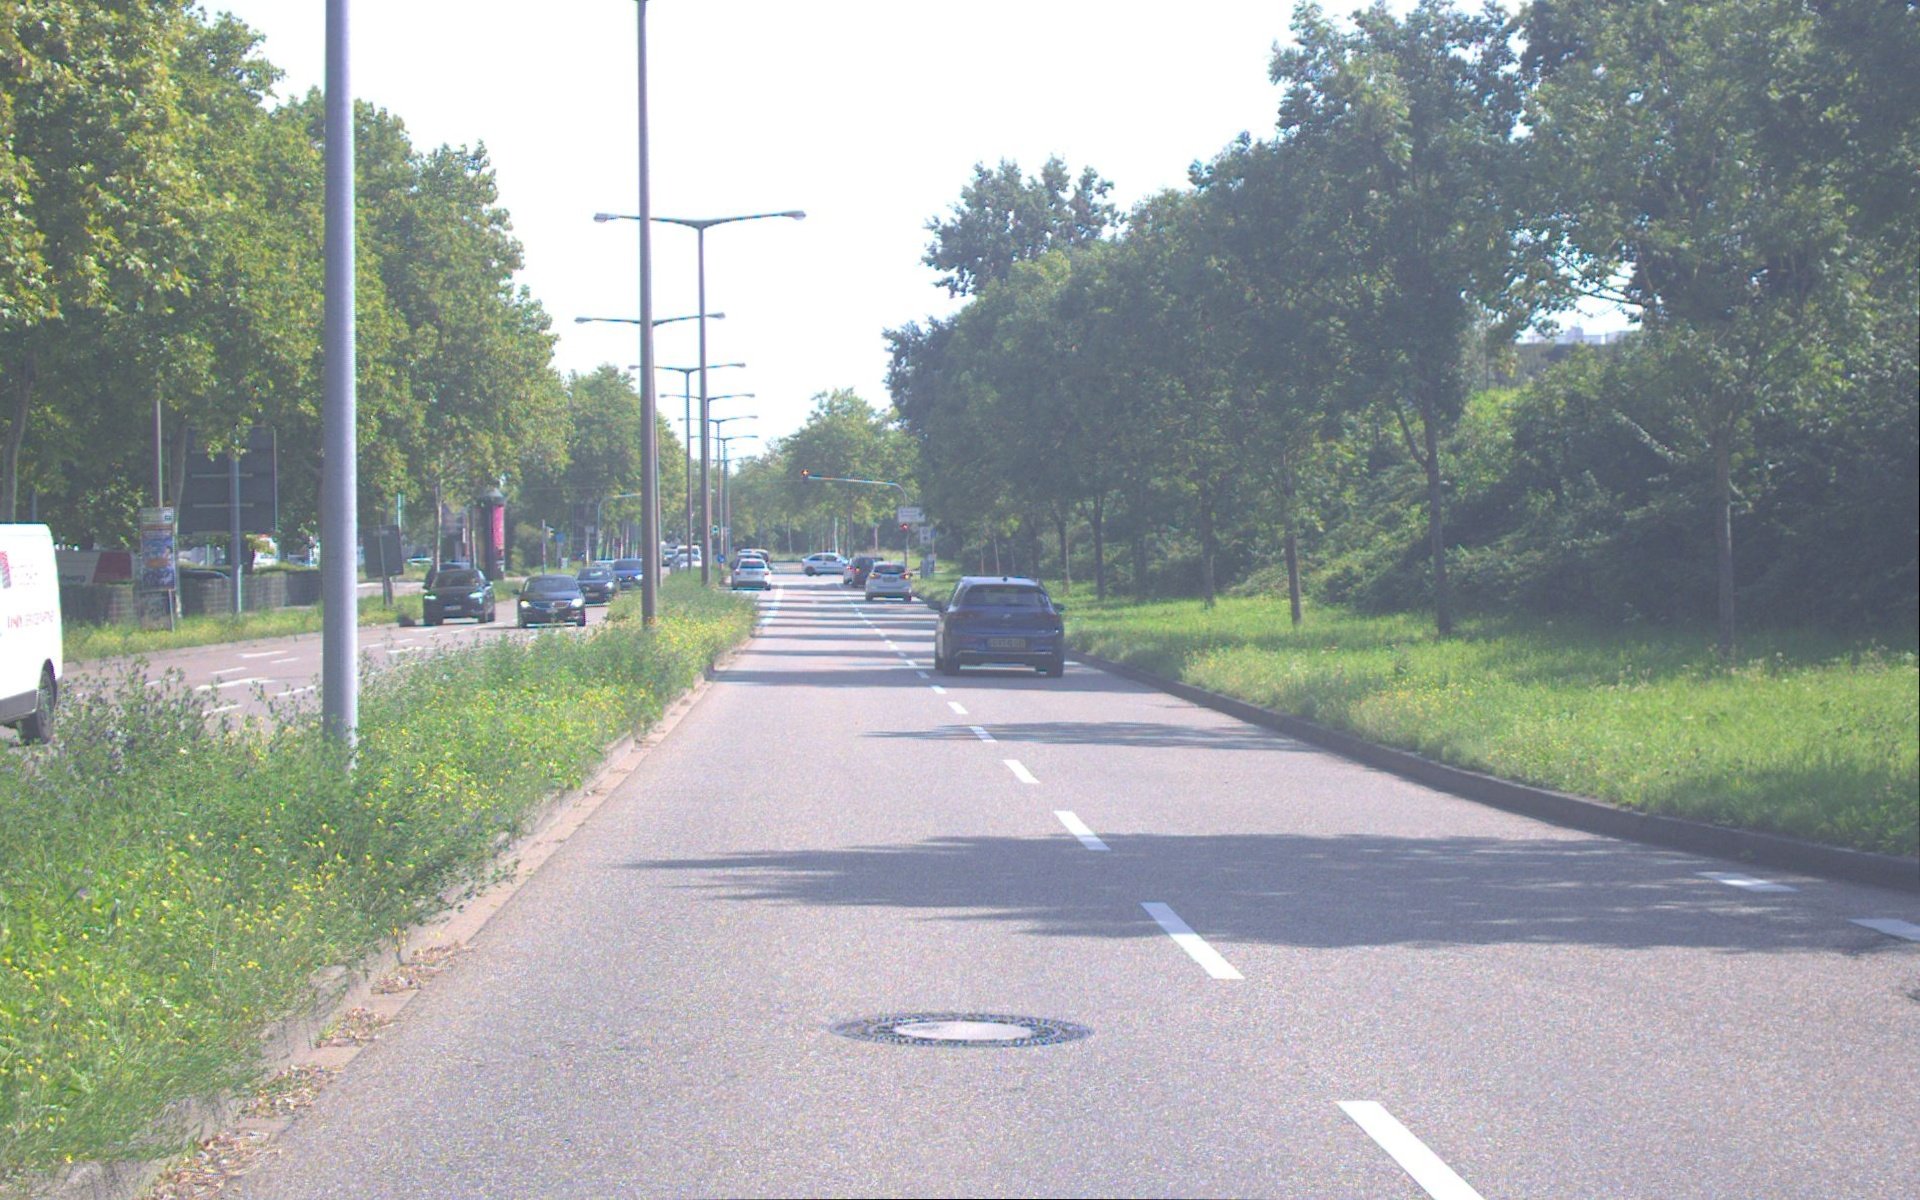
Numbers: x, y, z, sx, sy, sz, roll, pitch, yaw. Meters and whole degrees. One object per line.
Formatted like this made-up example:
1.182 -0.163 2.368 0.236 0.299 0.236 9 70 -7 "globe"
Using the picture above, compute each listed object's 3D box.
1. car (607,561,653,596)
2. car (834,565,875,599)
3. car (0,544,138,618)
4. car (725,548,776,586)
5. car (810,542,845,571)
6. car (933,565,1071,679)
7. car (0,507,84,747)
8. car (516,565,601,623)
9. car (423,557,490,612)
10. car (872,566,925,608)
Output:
-14.936 -0.979 155.611 1.993 1.579 4.347 0 0 -4 "car"
-5.633 -0.966 182.591 1.993 1.648 4.001 1 2 -4 "car"
-30.746 -0.659 115.911 5.583 2.329 2.279 1 3 -4 "car"
-9.786 -1.537 160.756 1.993 1.696 4.000 -1 0 2 "car"
-8.279 -2.722 214.631 1.993 1.648 4.001 1 2 -4 "car"
0.576 0.288 50.750 1.780 1.423 4.001 1 3 -3 "car"
-8.818 0.250 28.288 1.927 1.953 5.190 -2 1 -1 "car"
-10.806 -0.168 92.805 1.845 1.485 4.644 -2 0 -2 "car"
-15.336 -0.456 104.855 1.845 1.600 4.611 0 -1 -6 "car"
-2.509 -0.542 139.846 1.993 1.648 4.000 -1 0 -3 "car"
